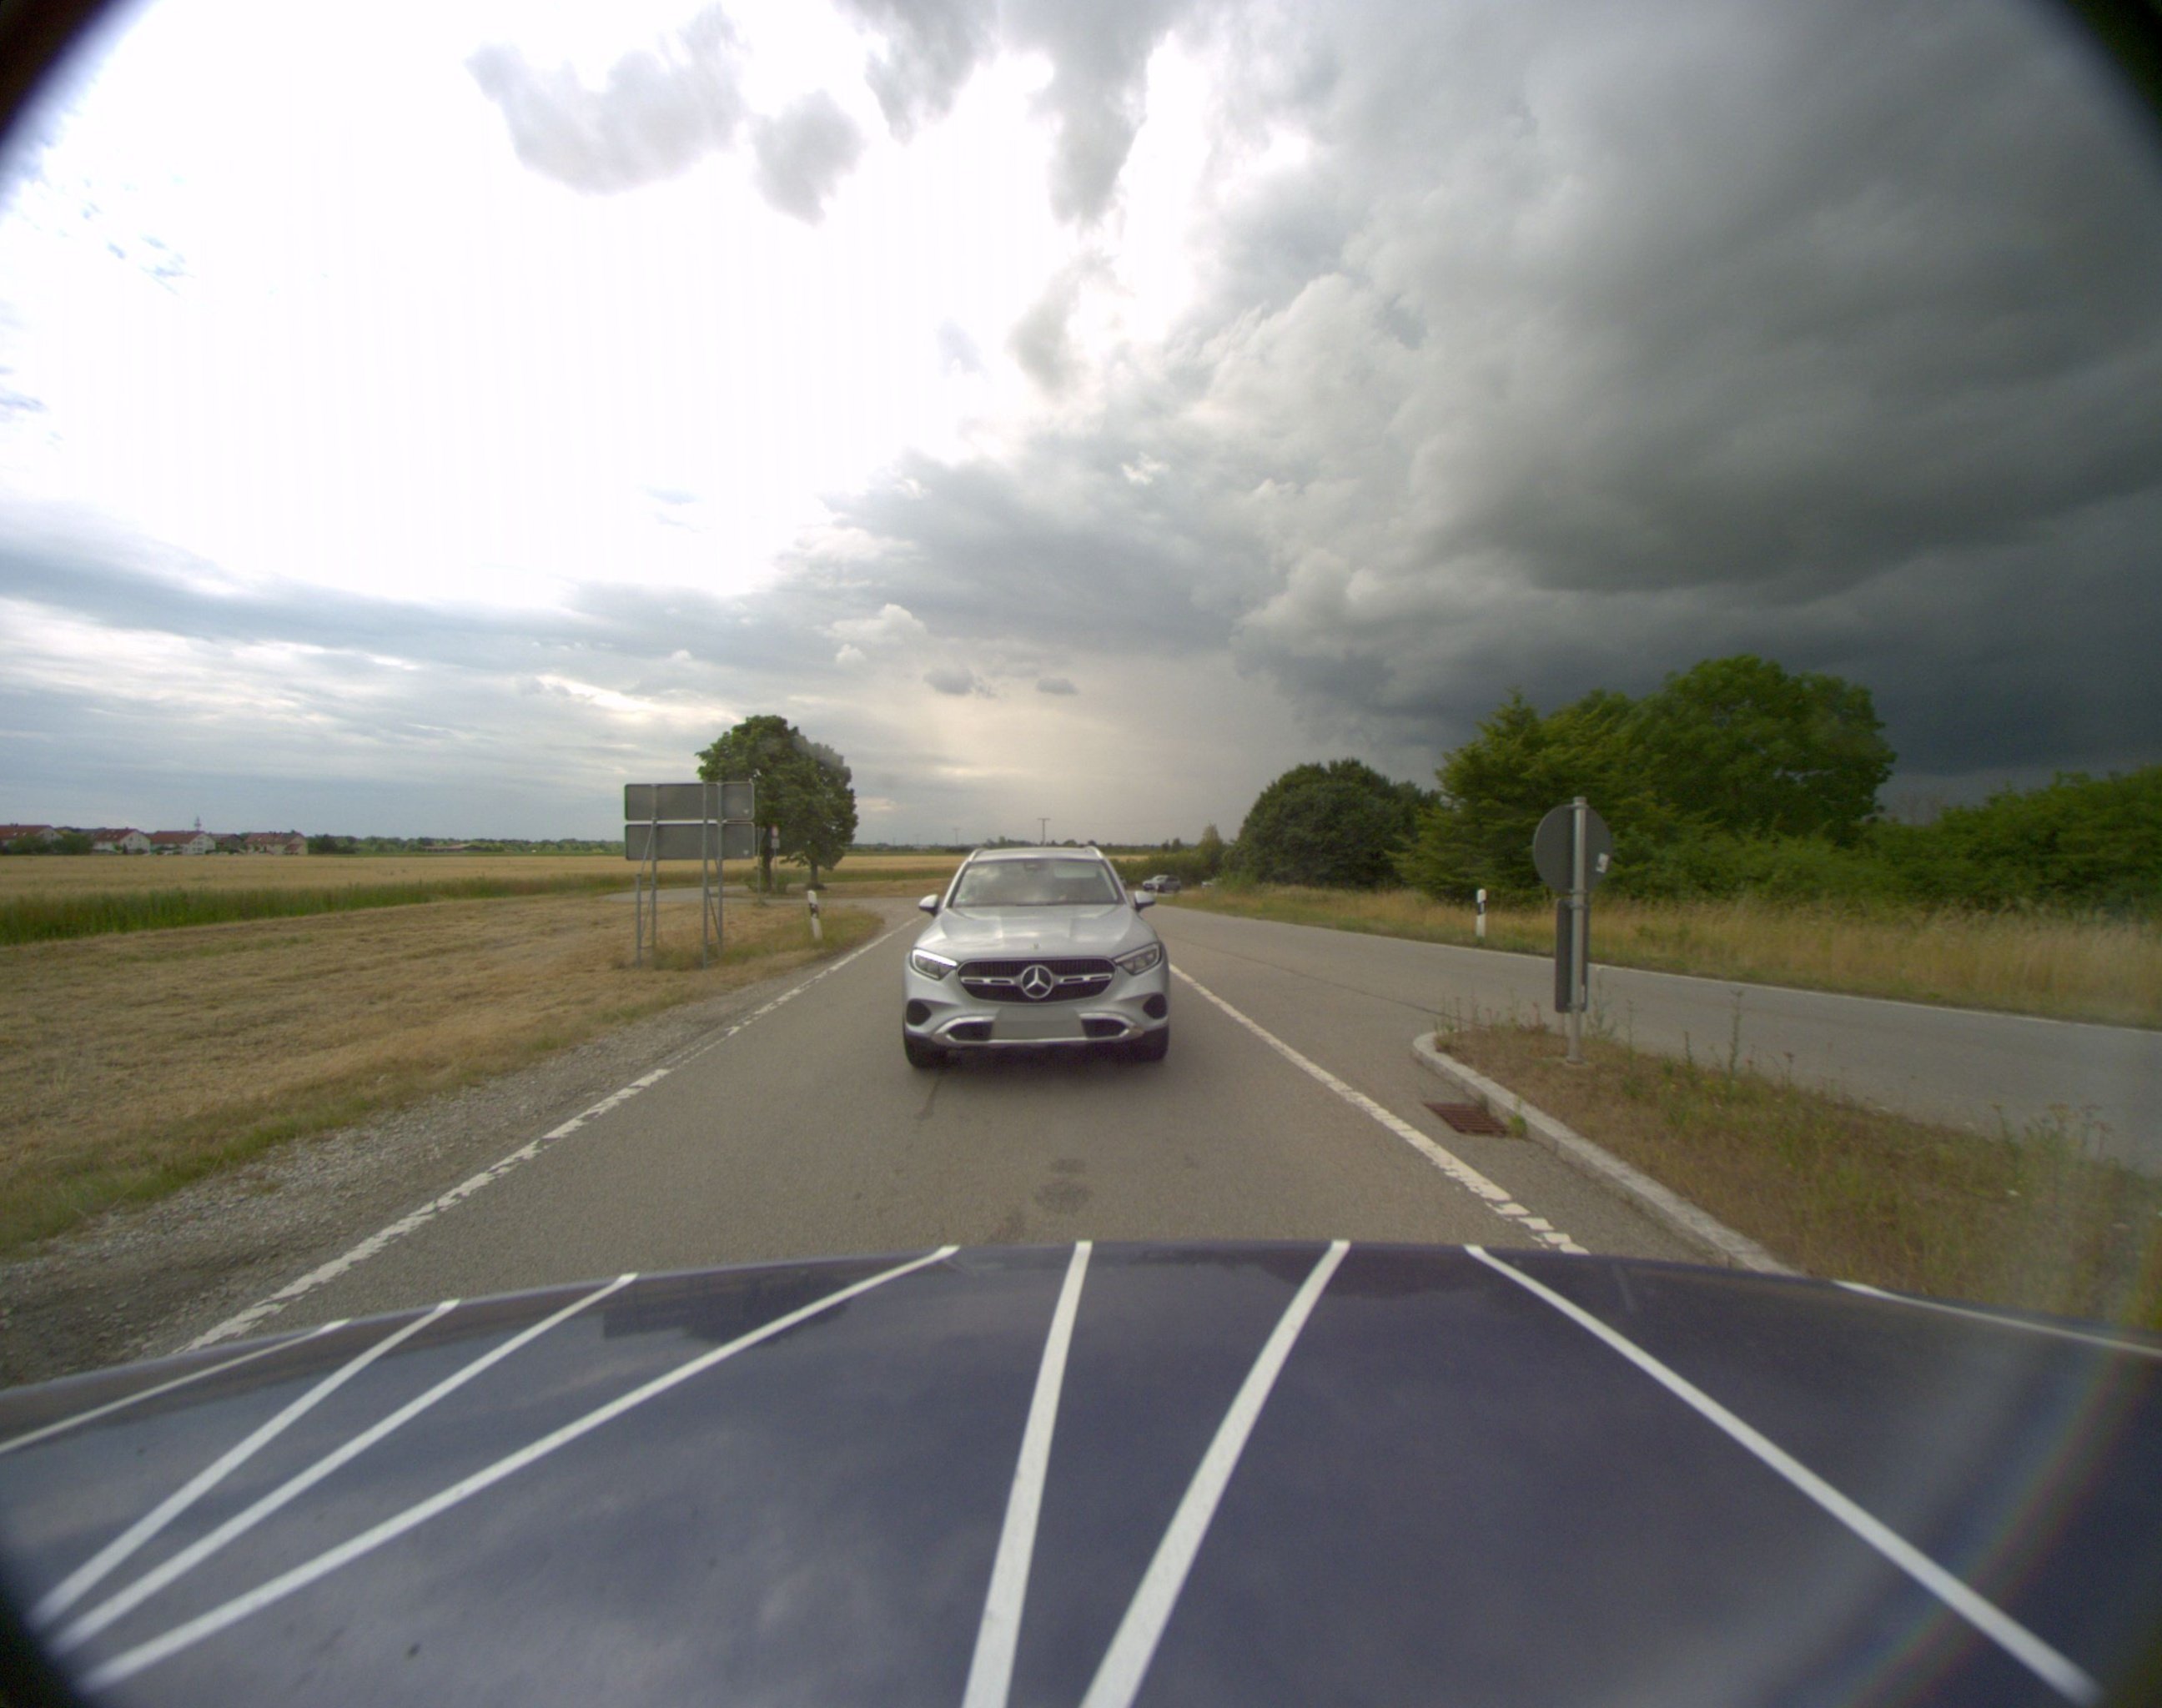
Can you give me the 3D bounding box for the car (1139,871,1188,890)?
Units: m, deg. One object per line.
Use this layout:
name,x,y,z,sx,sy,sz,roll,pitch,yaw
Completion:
car,8.109,2.578,74.442,1.993,1.710,5.220,3,2,42

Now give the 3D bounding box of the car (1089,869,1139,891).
car,2.855,2.197,64.447,1.994,1.709,5.220,3,-1,29

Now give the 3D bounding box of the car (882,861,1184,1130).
car,-0.432,0.884,6.930,1.837,1.577,4.448,-1,0,-4

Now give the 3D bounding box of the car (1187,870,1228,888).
car,13.582,2.658,81.463,1.994,1.710,5.220,3,2,38
